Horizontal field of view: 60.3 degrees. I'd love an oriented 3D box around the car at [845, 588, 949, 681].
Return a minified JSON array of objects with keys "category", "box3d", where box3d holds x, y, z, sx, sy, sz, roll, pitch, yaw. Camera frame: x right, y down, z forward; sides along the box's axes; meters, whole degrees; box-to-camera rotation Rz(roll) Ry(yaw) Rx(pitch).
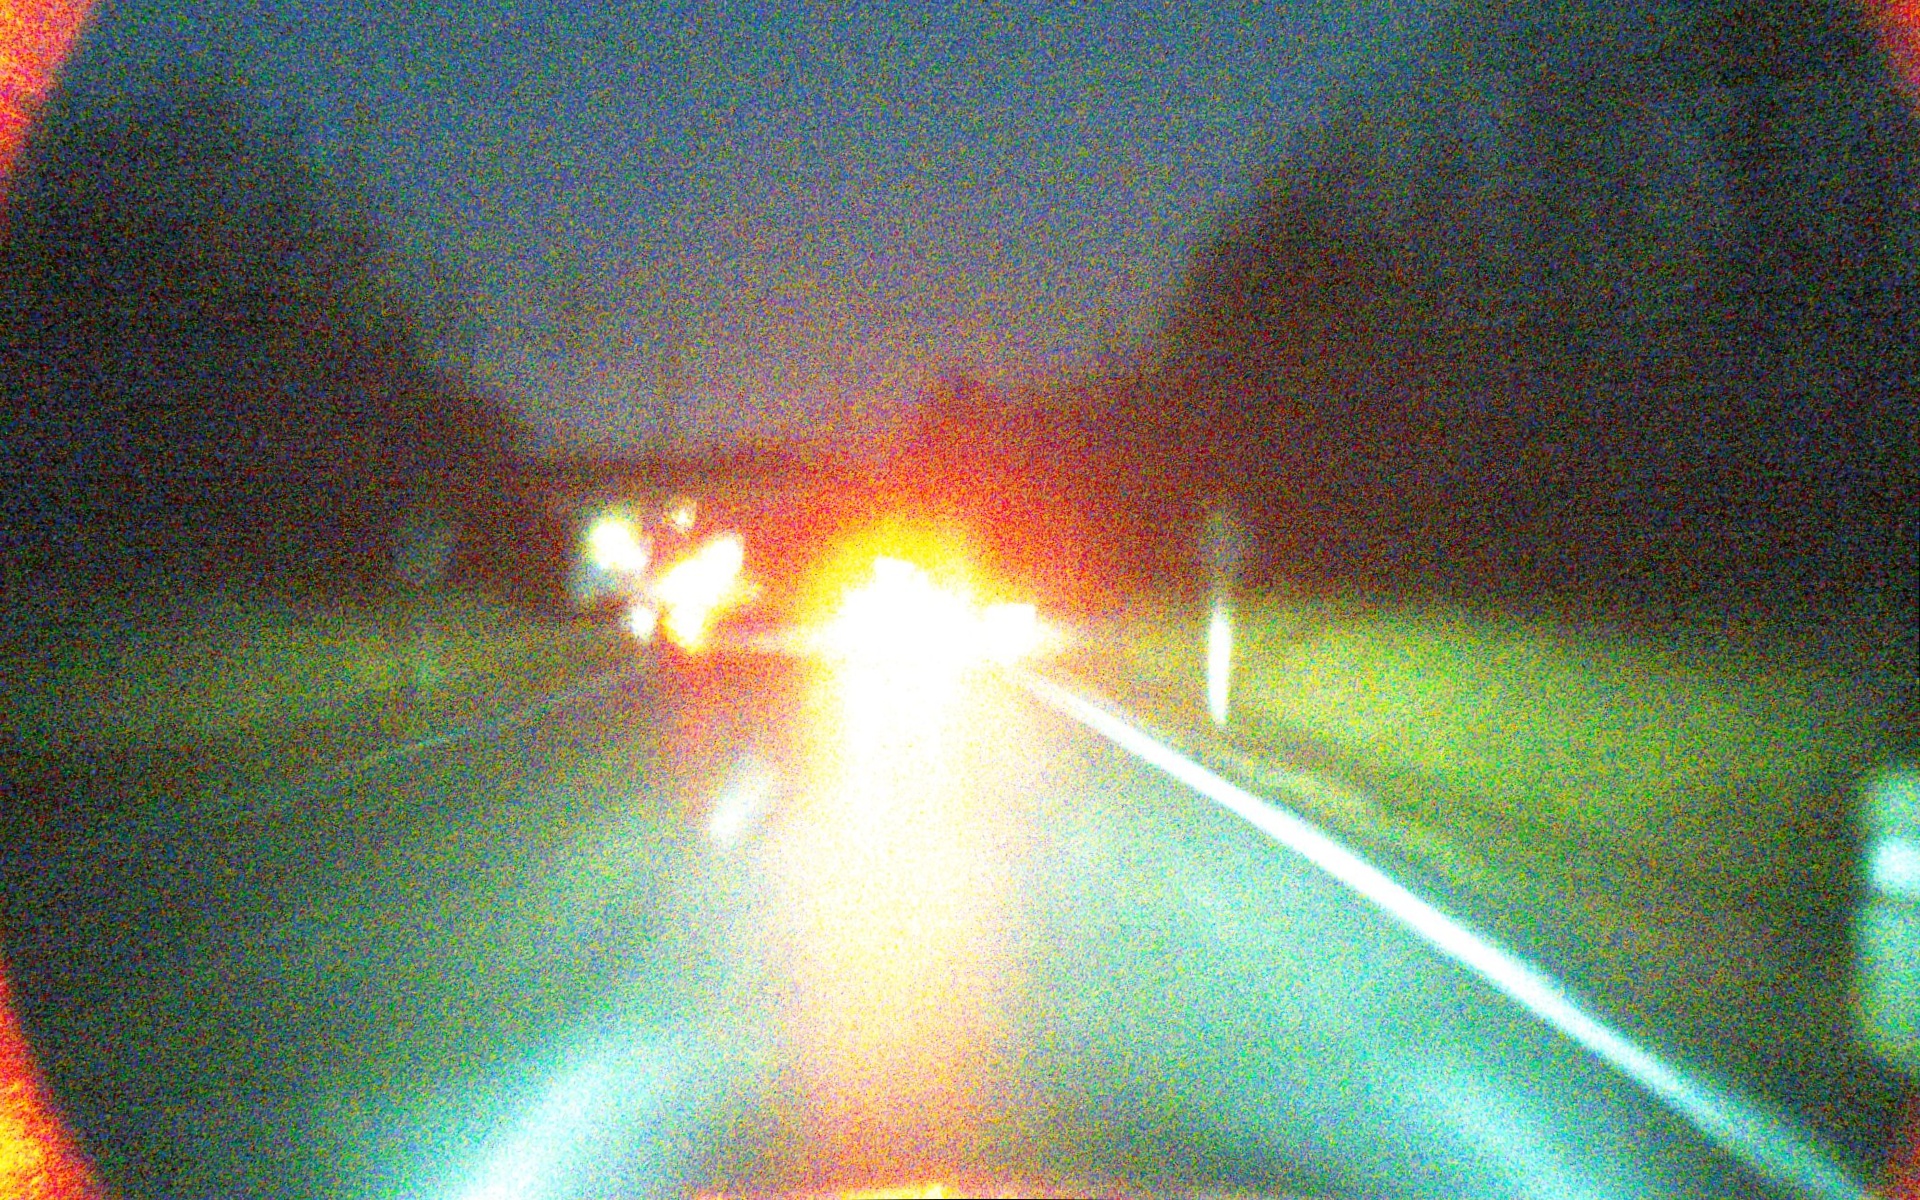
[{"category":"car","box3d":[-1.350,0.638,33.887,1.954,1.656,4.981,1,1,-4]}]
